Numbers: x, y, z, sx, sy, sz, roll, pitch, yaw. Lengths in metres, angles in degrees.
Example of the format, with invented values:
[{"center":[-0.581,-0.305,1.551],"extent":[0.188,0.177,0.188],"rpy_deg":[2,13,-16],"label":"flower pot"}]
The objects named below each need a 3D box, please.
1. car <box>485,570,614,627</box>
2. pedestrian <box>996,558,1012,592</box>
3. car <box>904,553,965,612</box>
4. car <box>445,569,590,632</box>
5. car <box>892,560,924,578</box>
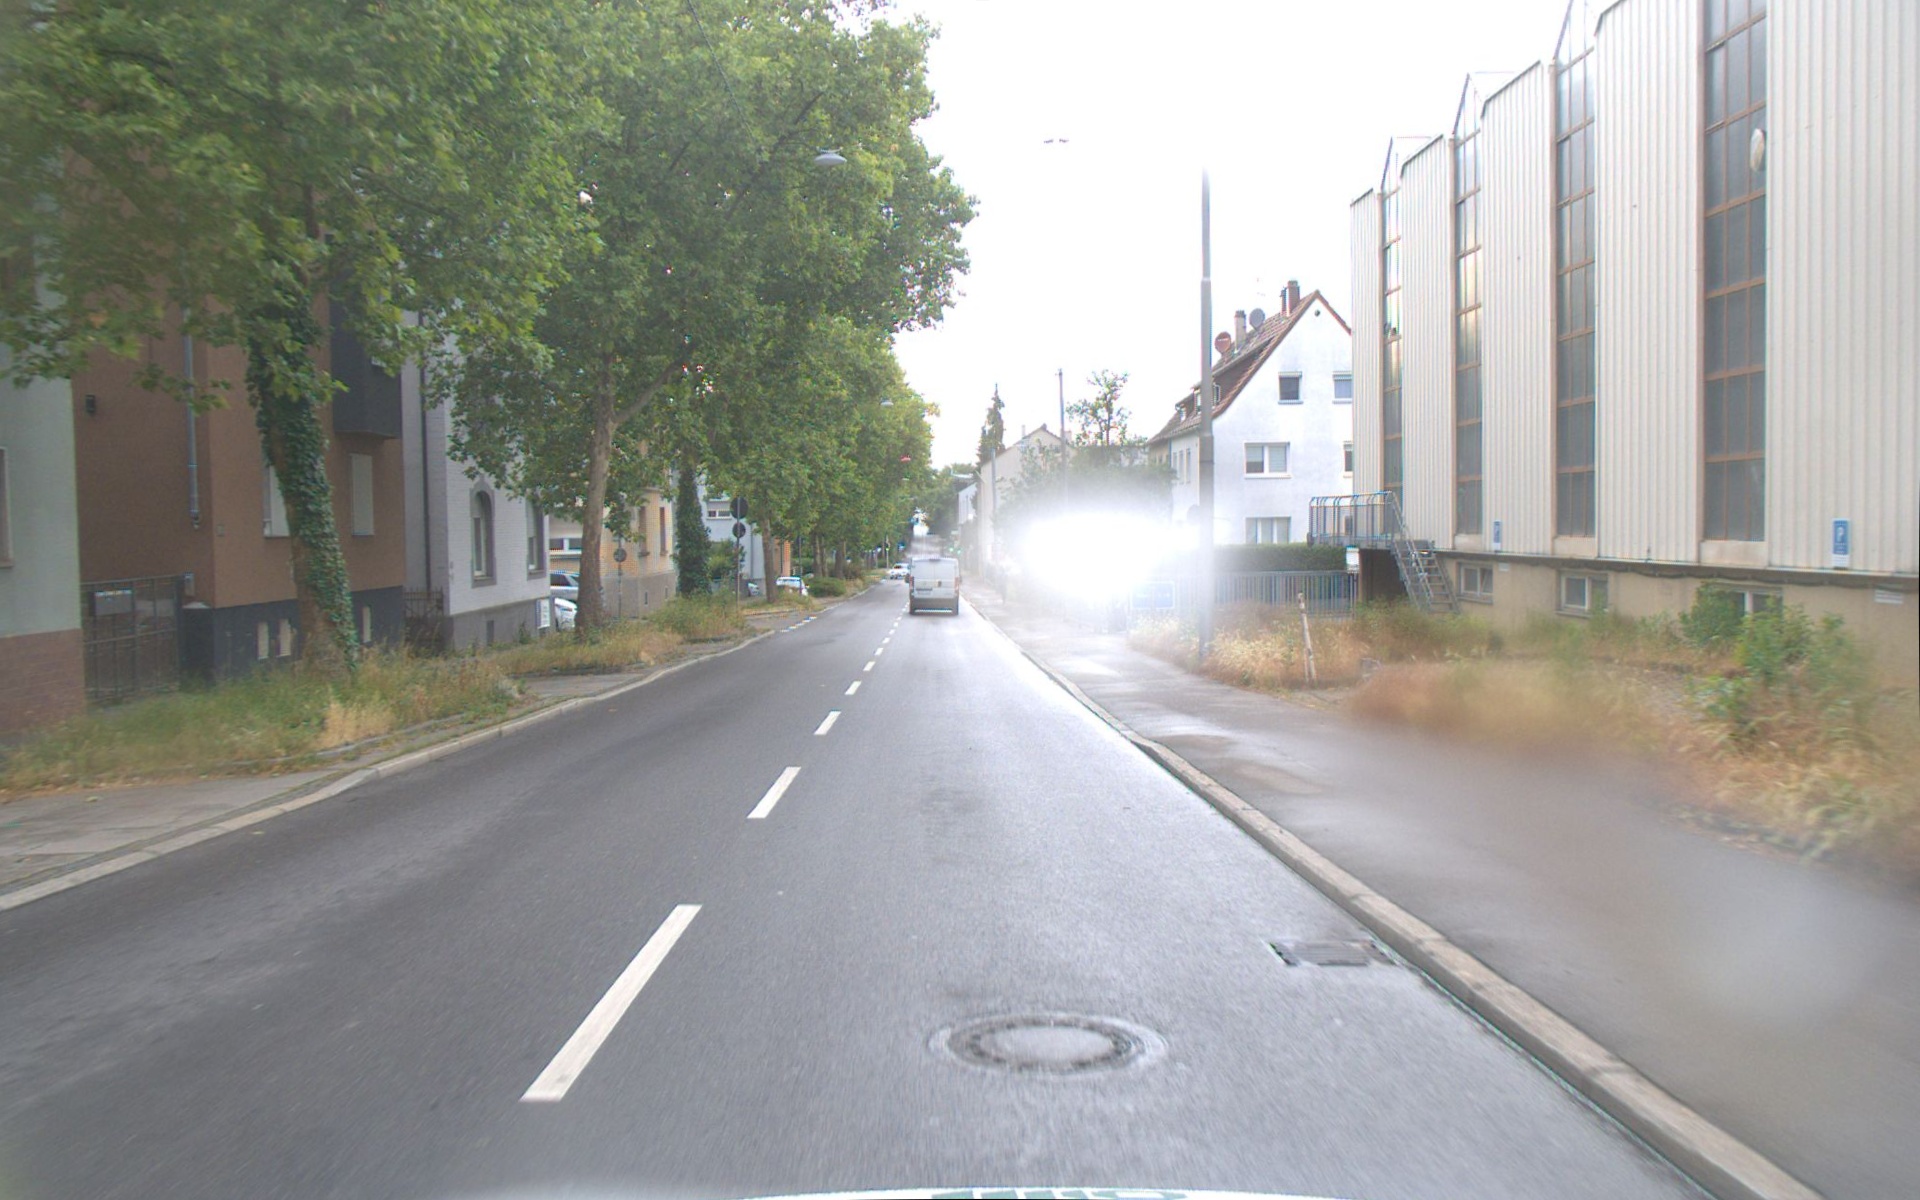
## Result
[{"center":[-14.618,-0.064,59.038],"extent":[4.112,1.925,1.999],"rpy_deg":[-1,1,-2],"label":"car"},{"center":[2.225,-1.261,84.038],"extent":[0.799,1.728,0.729],"rpy_deg":[0,0,2],"label":"pedestrian"},{"center":[-1.088,-0.749,67.899],"extent":[2.300,2.197,4.776],"rpy_deg":[-1,2,-2],"label":"car"},{"center":[-14.189,0.009,53.254],"extent":[4.112,1.925,1.999],"rpy_deg":[-1,1,-2],"label":"car"},{"center":[-5.137,-3.090,164.083],"extent":[1.951,1.739,4.262],"rpy_deg":[0,1,17],"label":"car"}]
